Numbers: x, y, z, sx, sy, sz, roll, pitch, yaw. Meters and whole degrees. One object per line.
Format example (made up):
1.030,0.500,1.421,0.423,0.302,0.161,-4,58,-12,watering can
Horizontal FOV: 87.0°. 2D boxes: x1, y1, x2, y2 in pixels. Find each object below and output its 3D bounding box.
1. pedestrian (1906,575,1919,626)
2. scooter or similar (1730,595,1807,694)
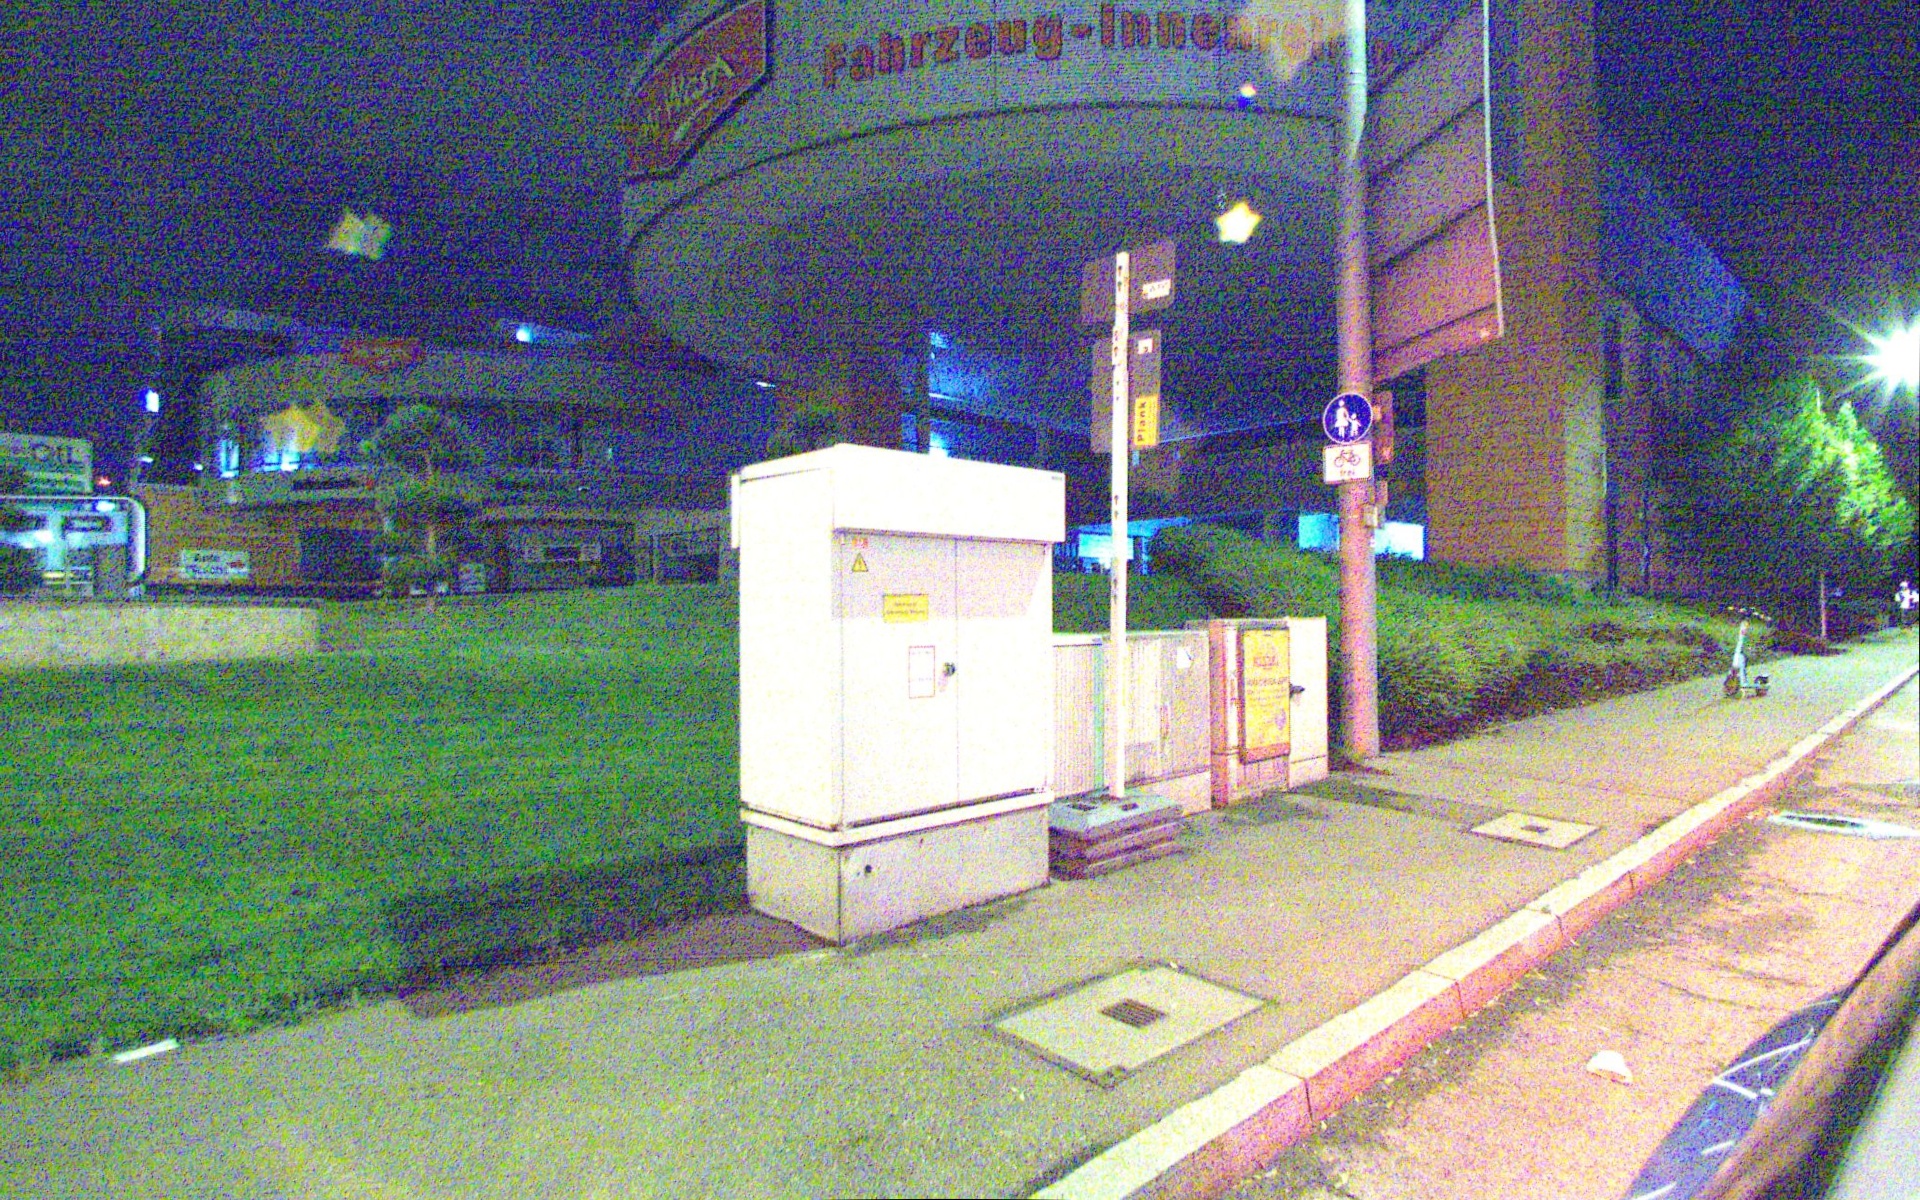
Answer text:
35.029,0.024,36.804,0.597,1.842,0.824,-1,0,-40,pedestrian
11.264,0.590,14.091,1.367,1.295,0.569,0,1,-41,scooter or similar
